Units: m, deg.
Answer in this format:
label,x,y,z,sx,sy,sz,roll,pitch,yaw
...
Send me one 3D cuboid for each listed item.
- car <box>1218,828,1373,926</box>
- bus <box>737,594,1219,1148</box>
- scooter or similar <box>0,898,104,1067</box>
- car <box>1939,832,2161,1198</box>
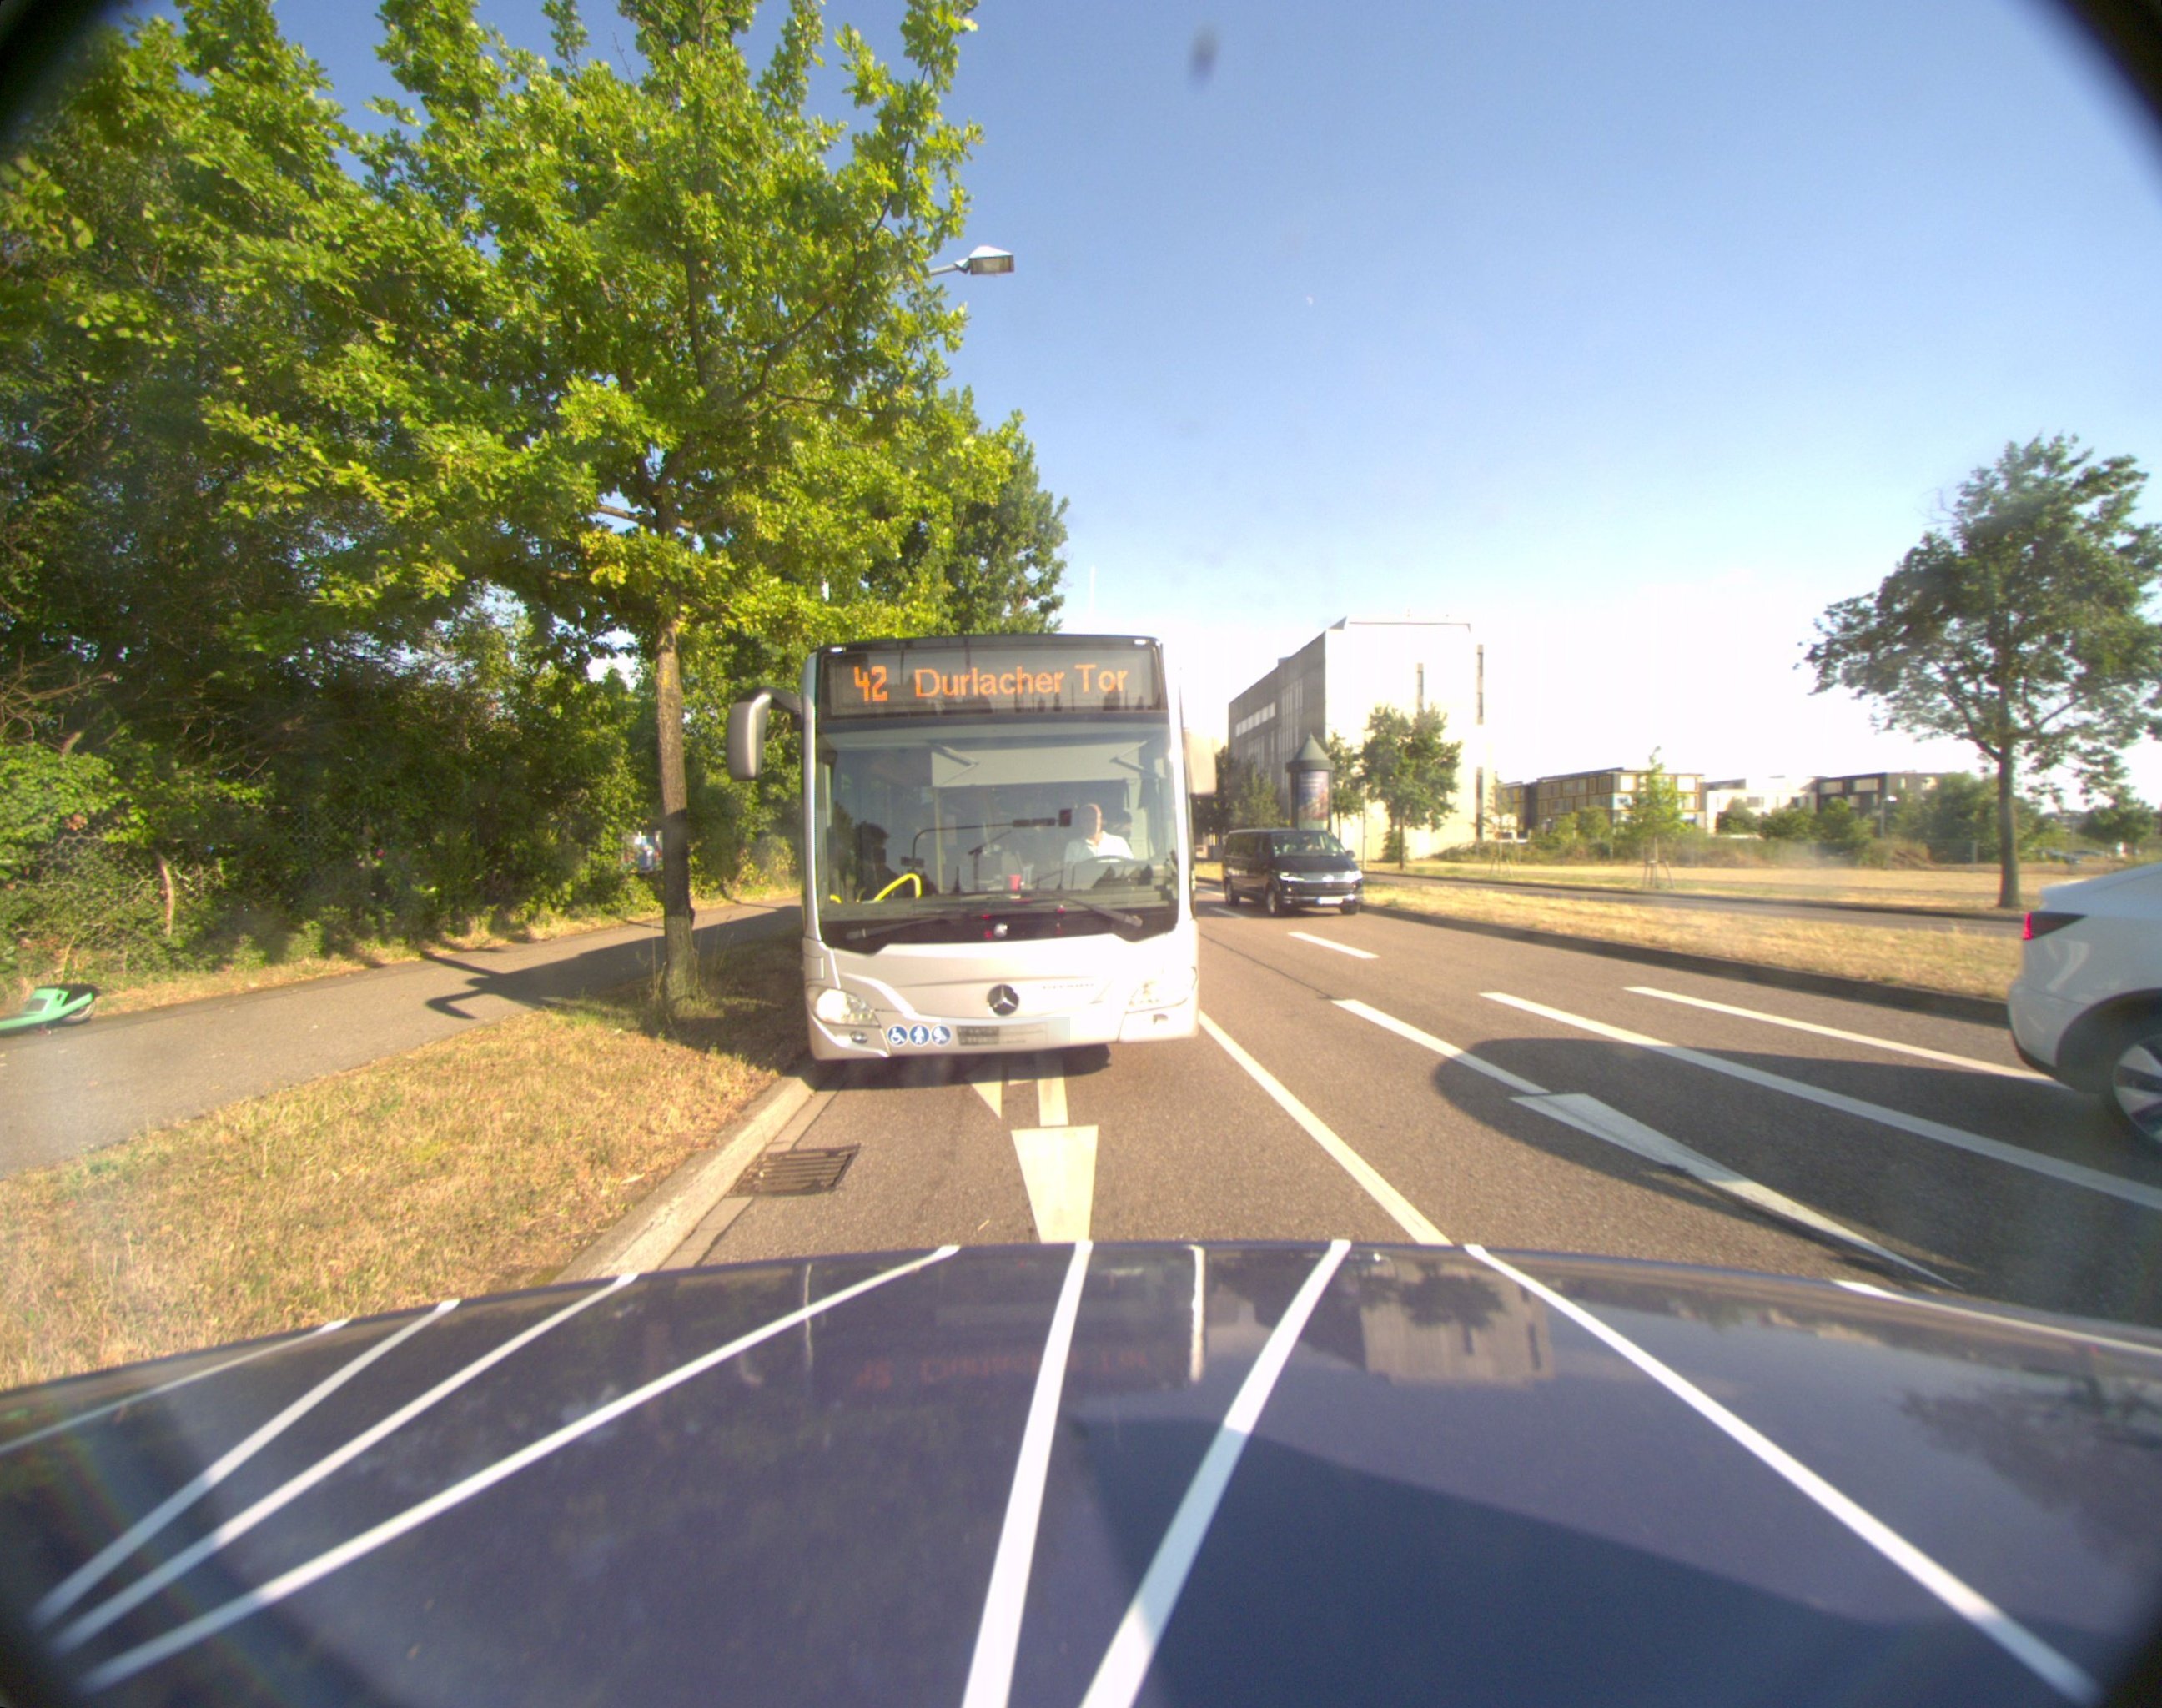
label,x,y,z,sx,sy,sz,roll,pitch,yaw
car,4.796,0.439,17.858,1.861,1.921,5.010,-2,1,-4
bus,-0.848,0.051,10.087,2.595,3.025,11.715,-1,0,-3
scooter or similar,-7.550,0.901,5.211,0.249,1.120,1.095,2,1,1
car,5.676,0.693,1.844,1.740,1.590,4.675,-2,0,-4
